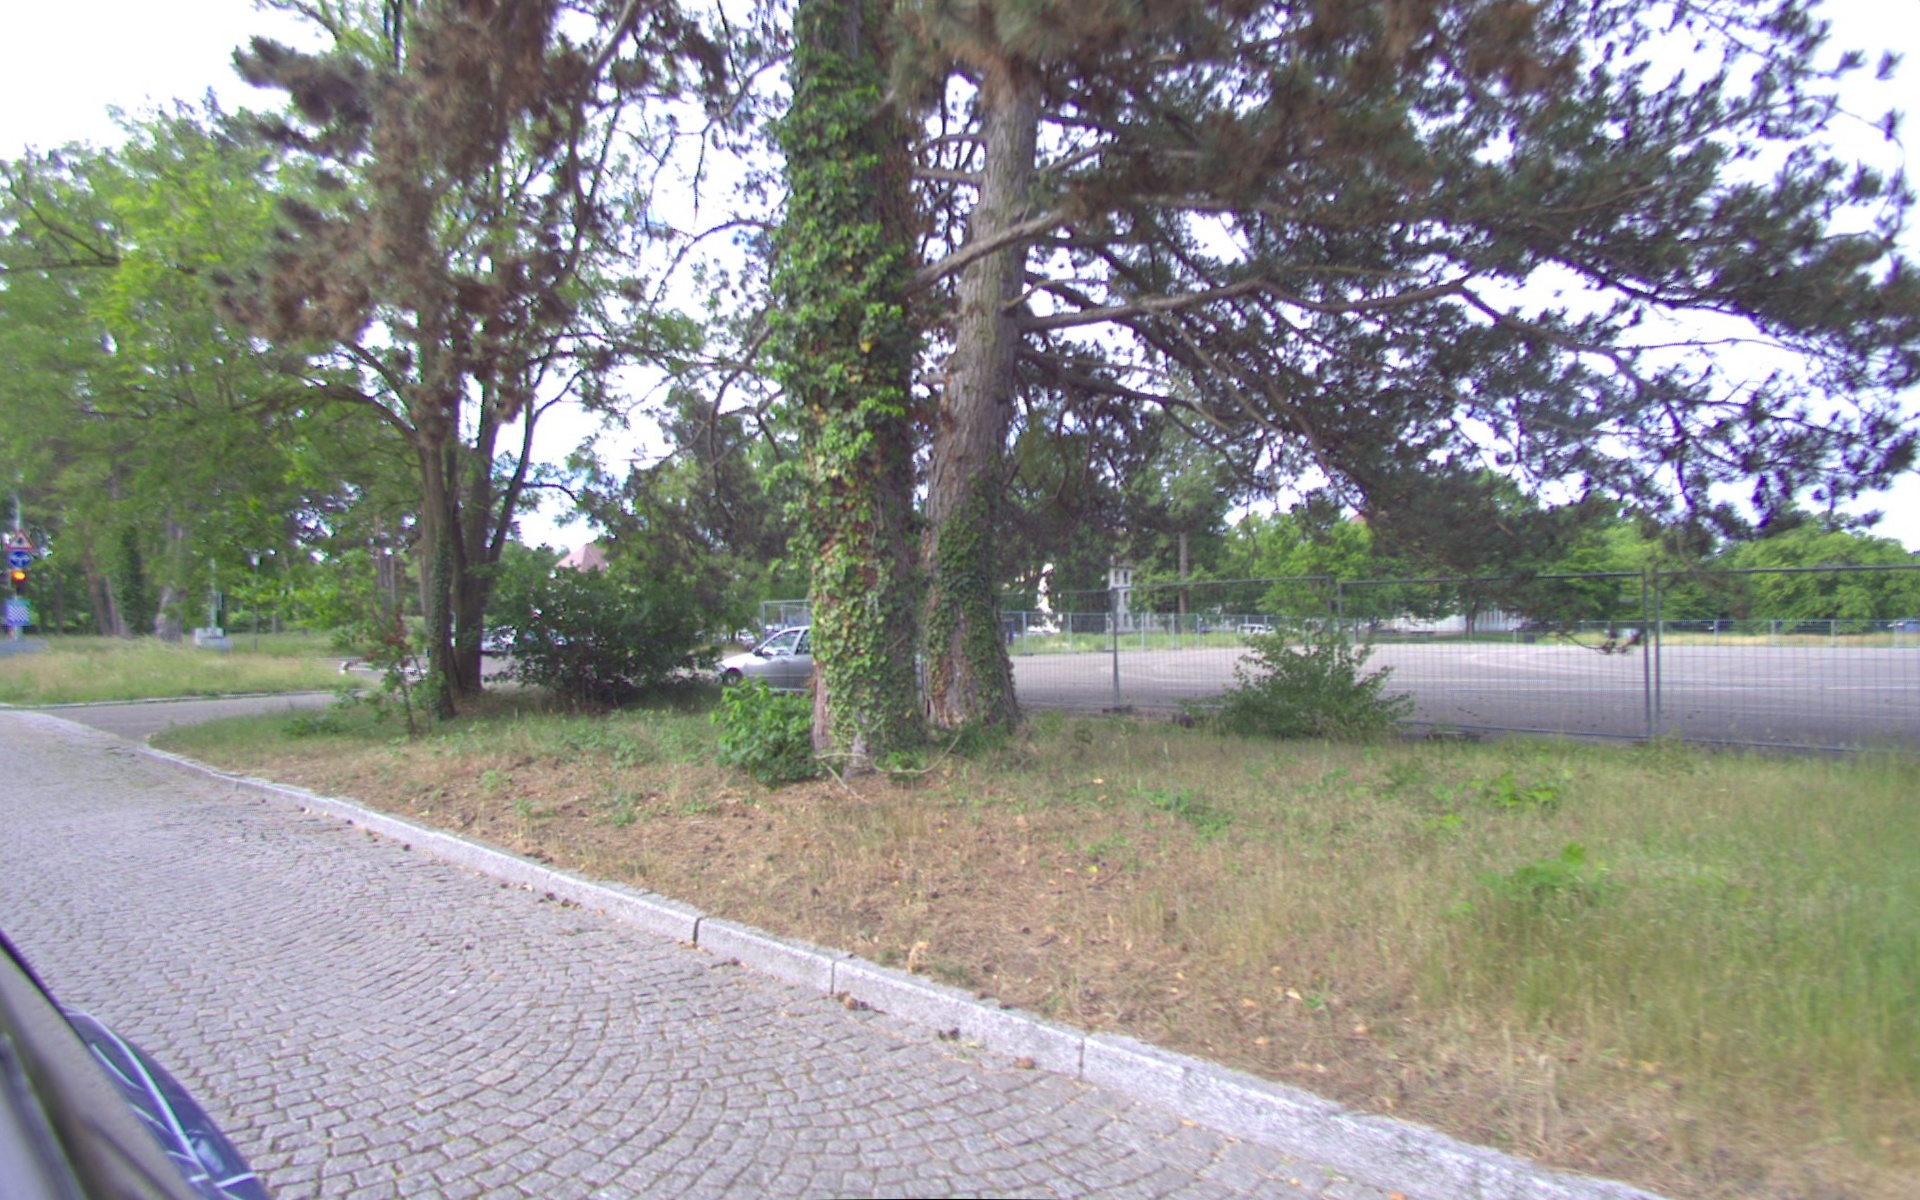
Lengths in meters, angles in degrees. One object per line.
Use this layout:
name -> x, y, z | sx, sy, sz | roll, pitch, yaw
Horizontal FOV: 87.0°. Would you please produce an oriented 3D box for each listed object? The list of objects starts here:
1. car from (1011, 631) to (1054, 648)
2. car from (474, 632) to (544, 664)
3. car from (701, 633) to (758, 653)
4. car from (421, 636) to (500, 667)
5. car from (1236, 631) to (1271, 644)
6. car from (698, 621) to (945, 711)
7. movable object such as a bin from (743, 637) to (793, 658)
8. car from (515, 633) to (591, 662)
car -> 7.596, 4.165, 106.743 | 1.802, 1.736, 4.588 | 1, -3, -42
car -> -23.150, 2.462, 51.904 | 3.892, 1.532, 1.654 | -4, -4, 37
car -> -17.534, 3.244, 76.855 | 4.393, 1.486, 1.808 | -2, -2, 35
car -> -24.682, 2.515, 49.955 | 4.313, 1.436, 1.807 | -2, -2, 37
car -> 40.996, 5.220, 141.409 | 4.288, 1.735, 1.806 | -2, 0, 41
car -> -2.546, 1.165, 18.081 | 4.415, 1.427, 1.807 | -2, -5, 38
movable object such as a bin -> -9.263, 2.305, 48.890 | 1.952, 0.976, 1.432 | -2, -2, 33
car -> -21.805, 2.527, 54.191 | 4.395, 1.486, 1.807 | -2, -2, 37
